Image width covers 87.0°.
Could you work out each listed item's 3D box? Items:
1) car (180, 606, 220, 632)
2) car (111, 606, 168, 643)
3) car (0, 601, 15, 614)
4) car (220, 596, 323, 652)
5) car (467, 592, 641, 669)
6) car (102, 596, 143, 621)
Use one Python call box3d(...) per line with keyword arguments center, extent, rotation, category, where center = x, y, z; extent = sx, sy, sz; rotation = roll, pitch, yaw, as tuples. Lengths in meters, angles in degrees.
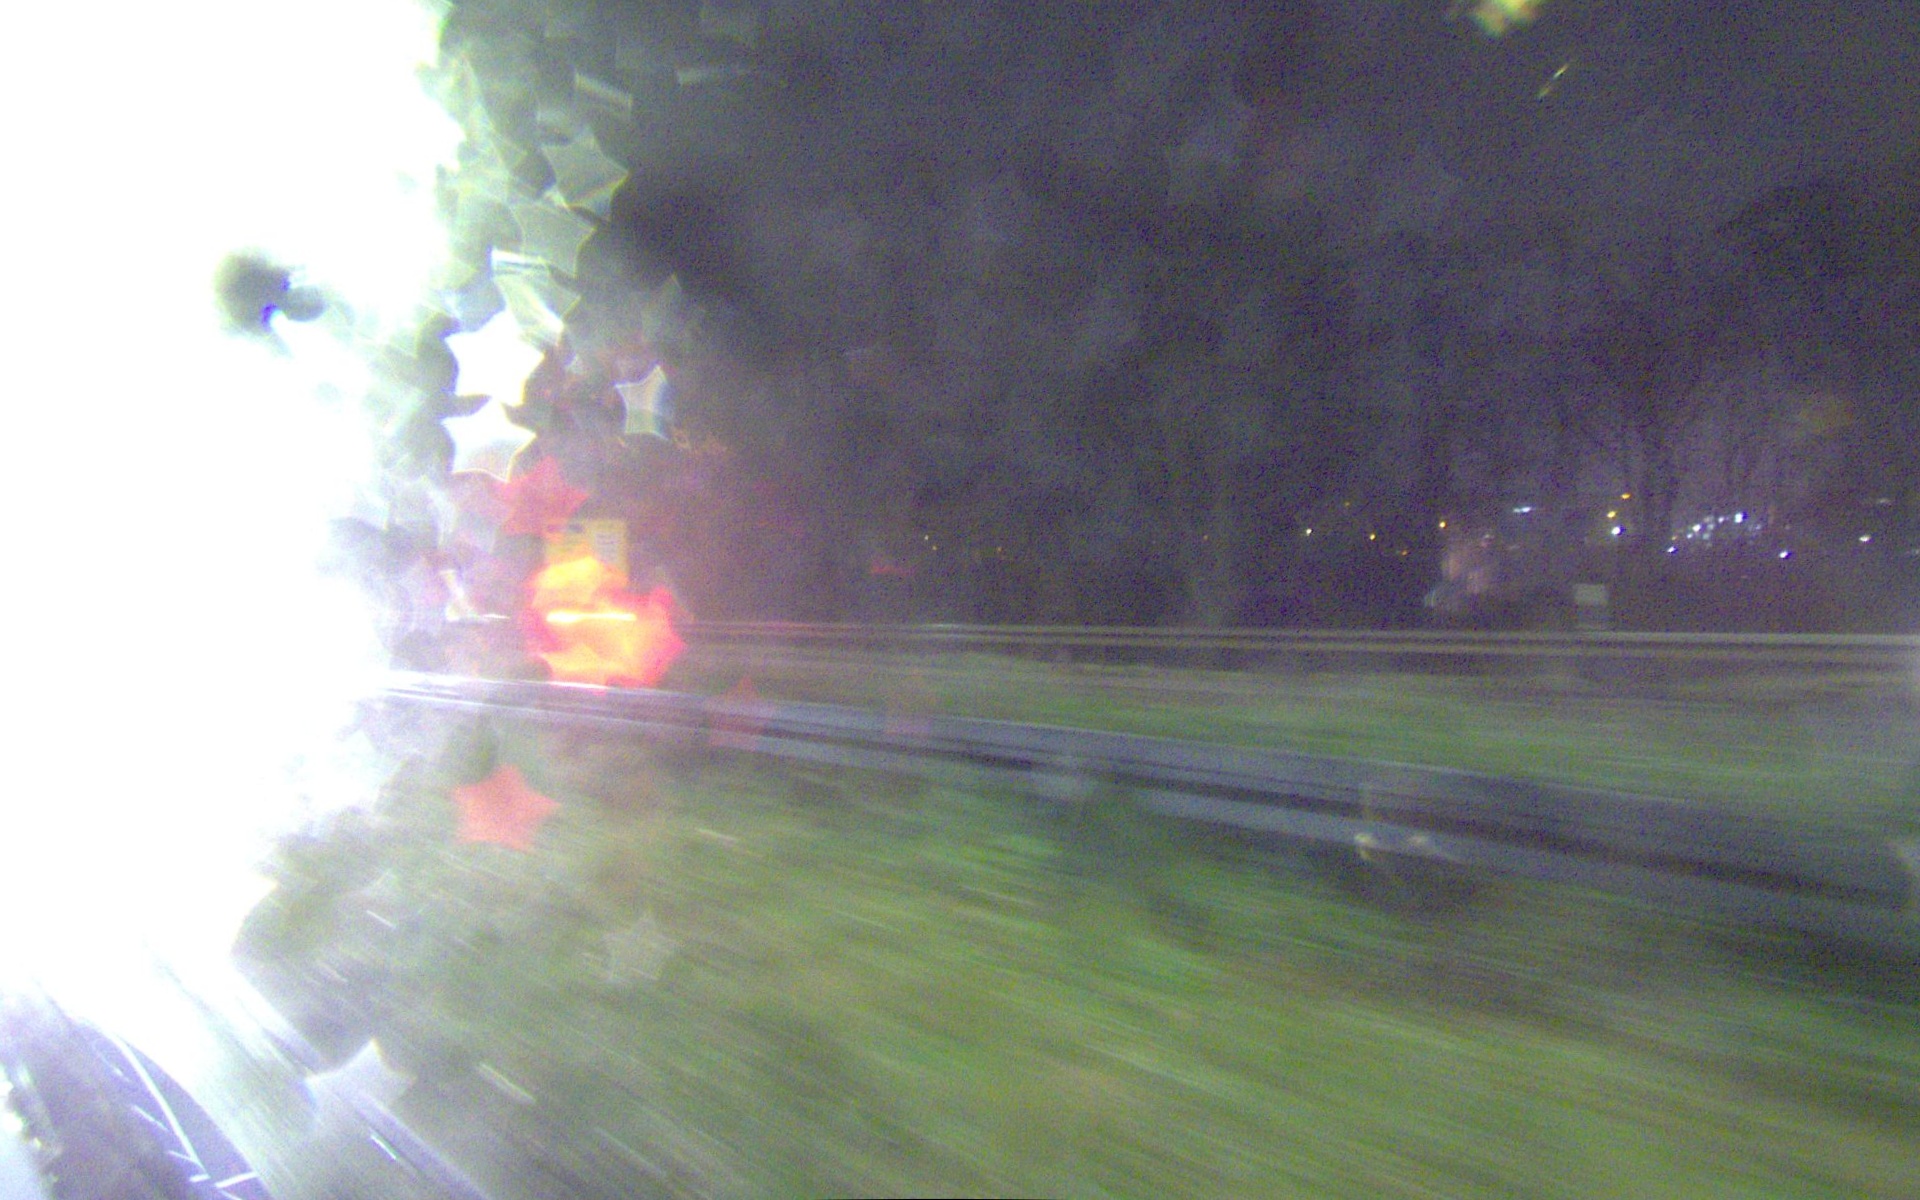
box3d(center=(-50.309, 1.259, 66.976), extent=(1.691, 1.434, 4.672), rotation=(-1, -3, -42), category="car")
box3d(center=(-42.372, 1.237, 52.234), extent=(4.251, 1.643, 1.746), rotation=(2, 3, 43), category="car")
box3d(center=(-136.758, 1.075, 144.868), extent=(1.969, 1.691, 4.005), rotation=(-3, 2, -41), category="car")
box3d(center=(-21.153, 0.747, 31.057), extent=(3.506, 1.583, 1.829), rotation=(-2, 0, 42), category="car")
box3d(center=(-9.404, 0.648, 23.272), extent=(4.556, 1.605, 1.757), rotation=(-1, 0, 39), category="car")
box3d(center=(-57.112, 0.569, 68.976), extent=(1.847, 1.619, 4.253), rotation=(-2, 2, -43), category="car")
